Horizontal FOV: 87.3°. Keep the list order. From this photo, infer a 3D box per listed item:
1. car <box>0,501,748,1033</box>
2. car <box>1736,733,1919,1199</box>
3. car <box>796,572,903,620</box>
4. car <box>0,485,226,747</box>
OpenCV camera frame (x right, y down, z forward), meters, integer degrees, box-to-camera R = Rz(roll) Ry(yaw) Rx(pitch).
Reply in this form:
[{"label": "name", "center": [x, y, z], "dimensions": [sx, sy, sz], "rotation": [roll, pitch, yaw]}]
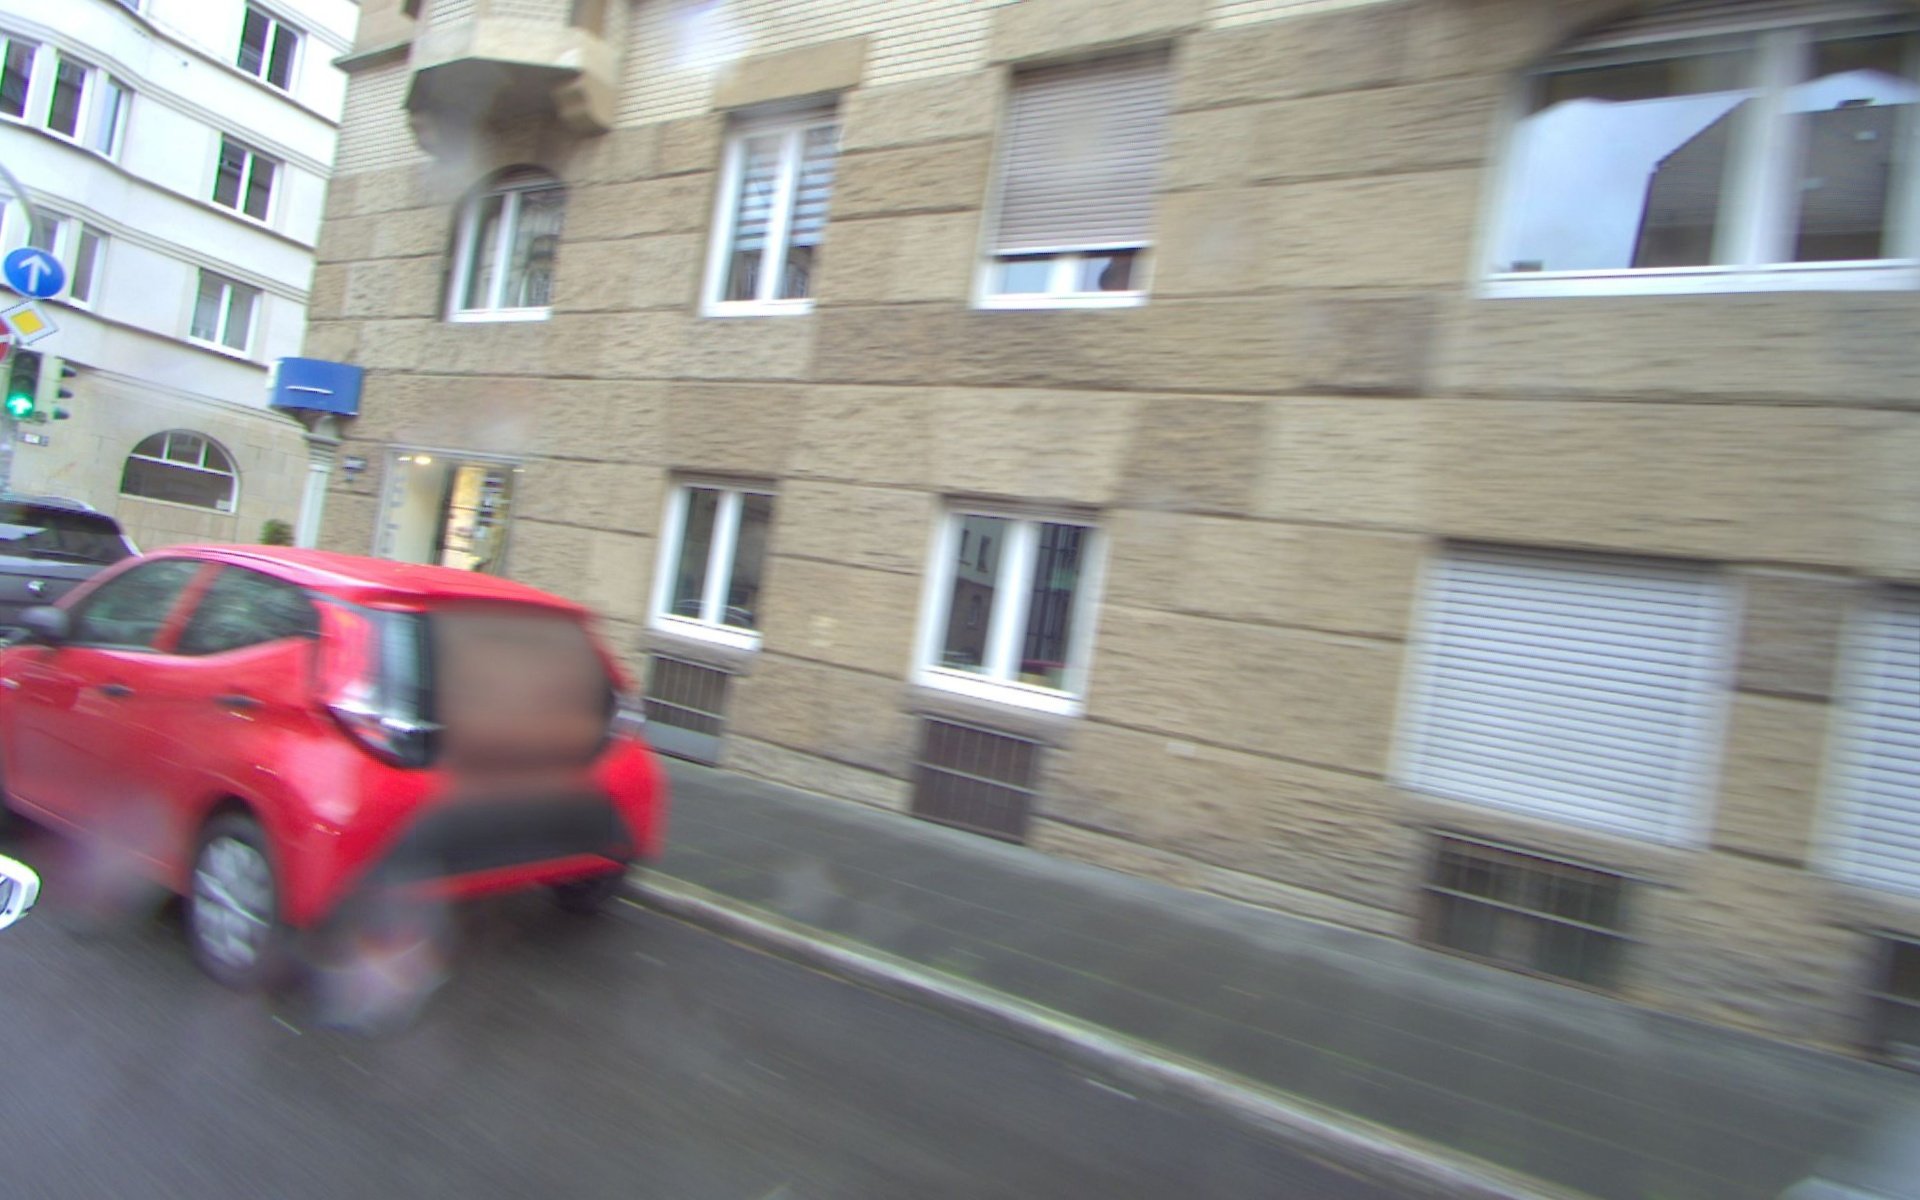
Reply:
[{"label": "car", "center": [-2.964, 0.499, 4.632], "dimensions": [3.472, 1.469, 1.711], "rotation": [7, -3, 29]}, {"label": "car", "center": [3.087, 1.174, 0.968], "dimensions": [3.464, 1.504, 1.597], "rotation": [6, -1, 32]}, {"label": "car", "center": [-4.262, -0.126, 39.626], "dimensions": [1.945, 1.588, 4.362], "rotation": [4, 0, 29]}, {"label": "car", "center": [-7.353, -0.060, 7.224], "dimensions": [3.925, 1.566, 1.872], "rotation": [6, -3, 31]}]
